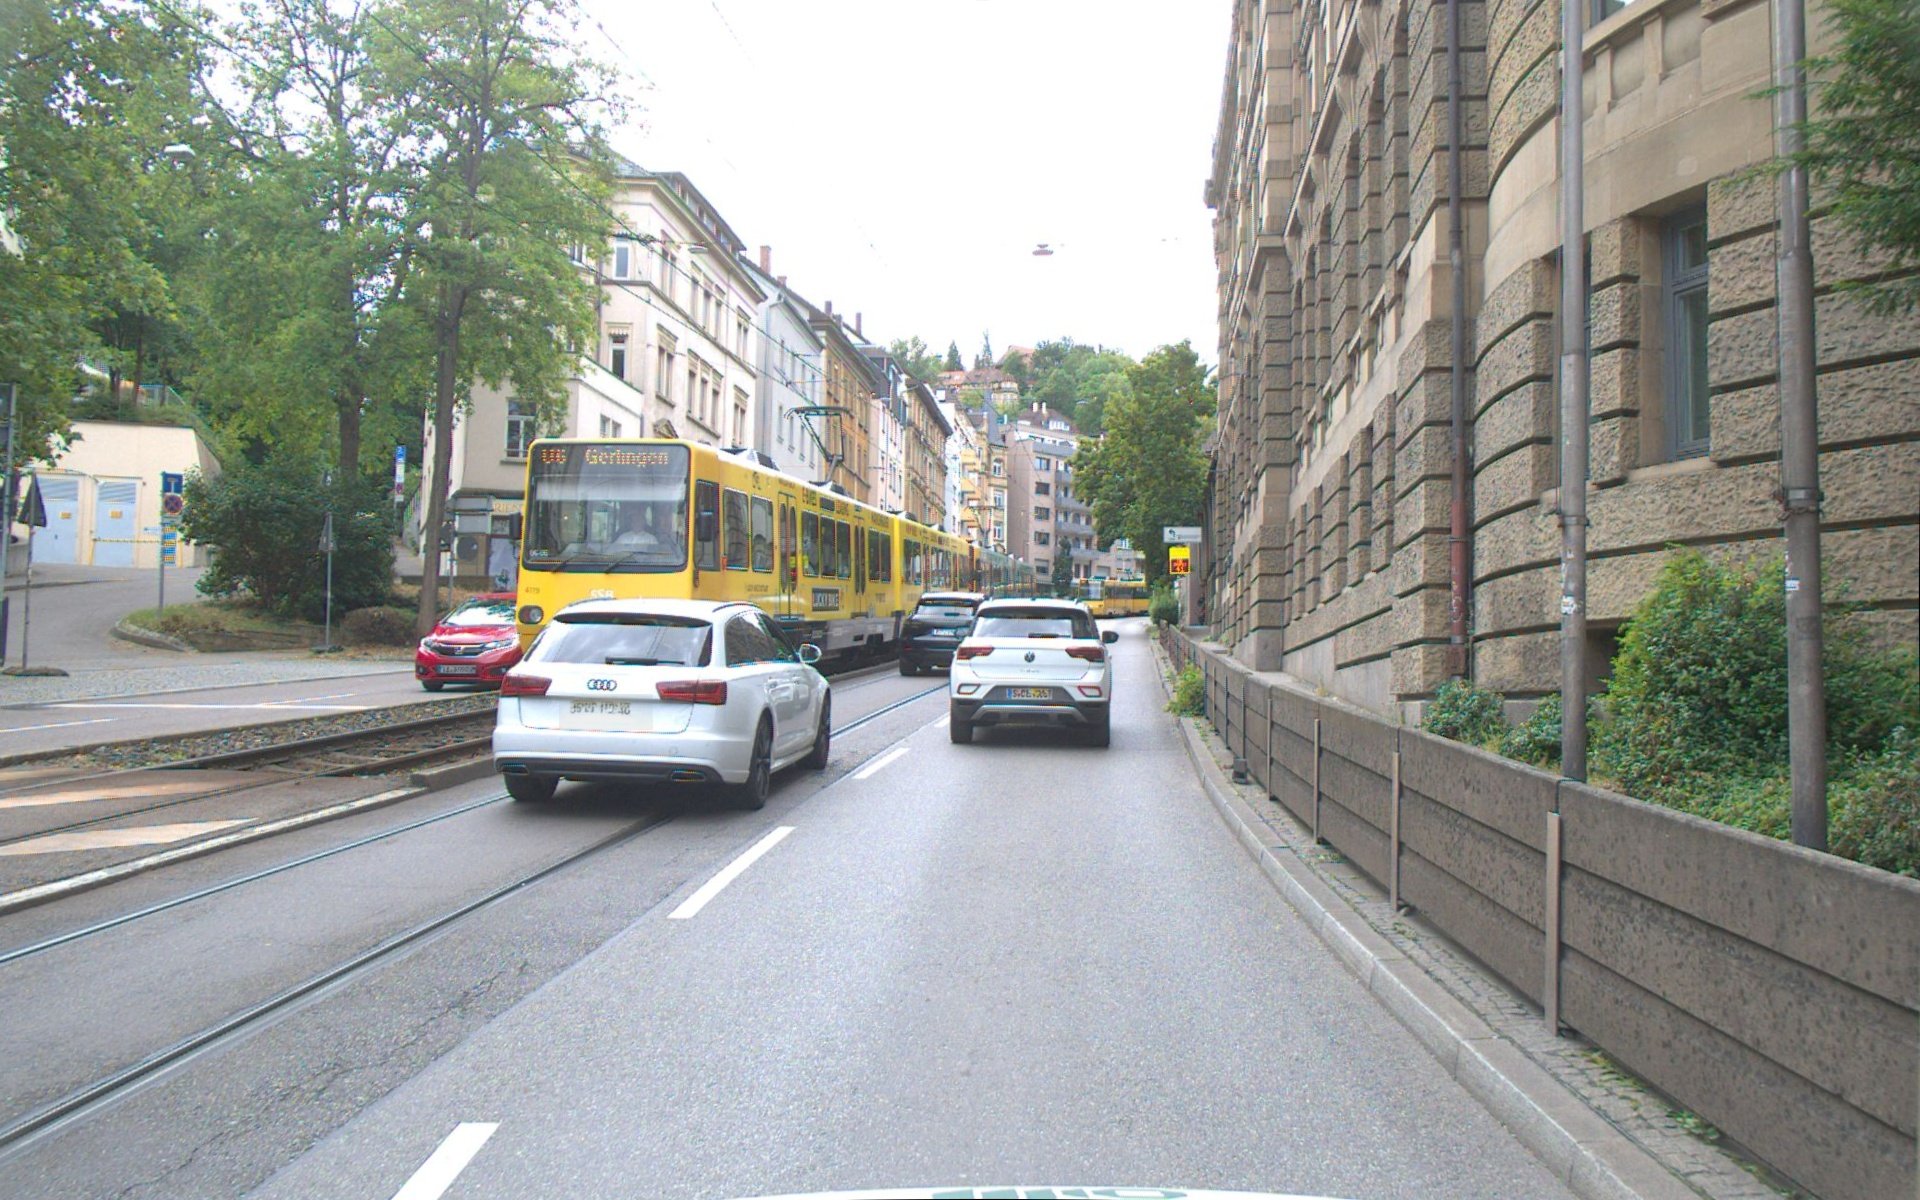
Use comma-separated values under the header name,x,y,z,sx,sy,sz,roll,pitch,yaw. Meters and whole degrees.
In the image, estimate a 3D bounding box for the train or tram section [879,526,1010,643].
name,x,y,z,sx,sy,sz,roll,pitch,yaw
train or tram section,-0.243,-0.494,64.420,2.815,3.791,18.769,2,0,6

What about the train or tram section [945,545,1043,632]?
name,x,y,z,sx,sy,sz,roll,pitch,yaw
train or tram section,1.980,-0.480,83.061,2.815,3.791,18.770,2,0,7

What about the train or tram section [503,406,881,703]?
name,x,y,z,sx,sy,sz,roll,pitch,yaw
train or tram section,-3.871,-0.583,29.055,2.822,3.791,14.865,2,0,5

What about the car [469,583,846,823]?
name,x,y,z,sx,sy,sz,roll,pitch,yaw
car,-2.128,0.653,13.025,1.839,1.480,4.619,2,0,3

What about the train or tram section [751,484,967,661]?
name,x,y,z,sx,sy,sz,roll,pitch,yaw
train or tram section,-2.187,-0.577,45.751,2.815,3.791,18.715,2,0,6

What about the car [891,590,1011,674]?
name,x,y,z,sx,sy,sz,roll,pitch,yaw
car,-0.114,0.628,34.217,1.995,1.599,4.361,1,0,6

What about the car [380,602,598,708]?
name,x,y,z,sx,sy,sz,roll,pitch,yaw
car,-7.382,0.813,26.346,1.951,1.530,4.002,1,0,6

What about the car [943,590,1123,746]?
name,x,y,z,sx,sy,sz,roll,pitch,yaw
car,0.875,0.703,19.040,1.839,1.582,4.002,1,0,4

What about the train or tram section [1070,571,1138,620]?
name,x,y,z,sx,sy,sz,roll,pitch,yaw
train or tram section,13.616,-0.326,154.567,2.953,4.287,18.871,1,0,15
